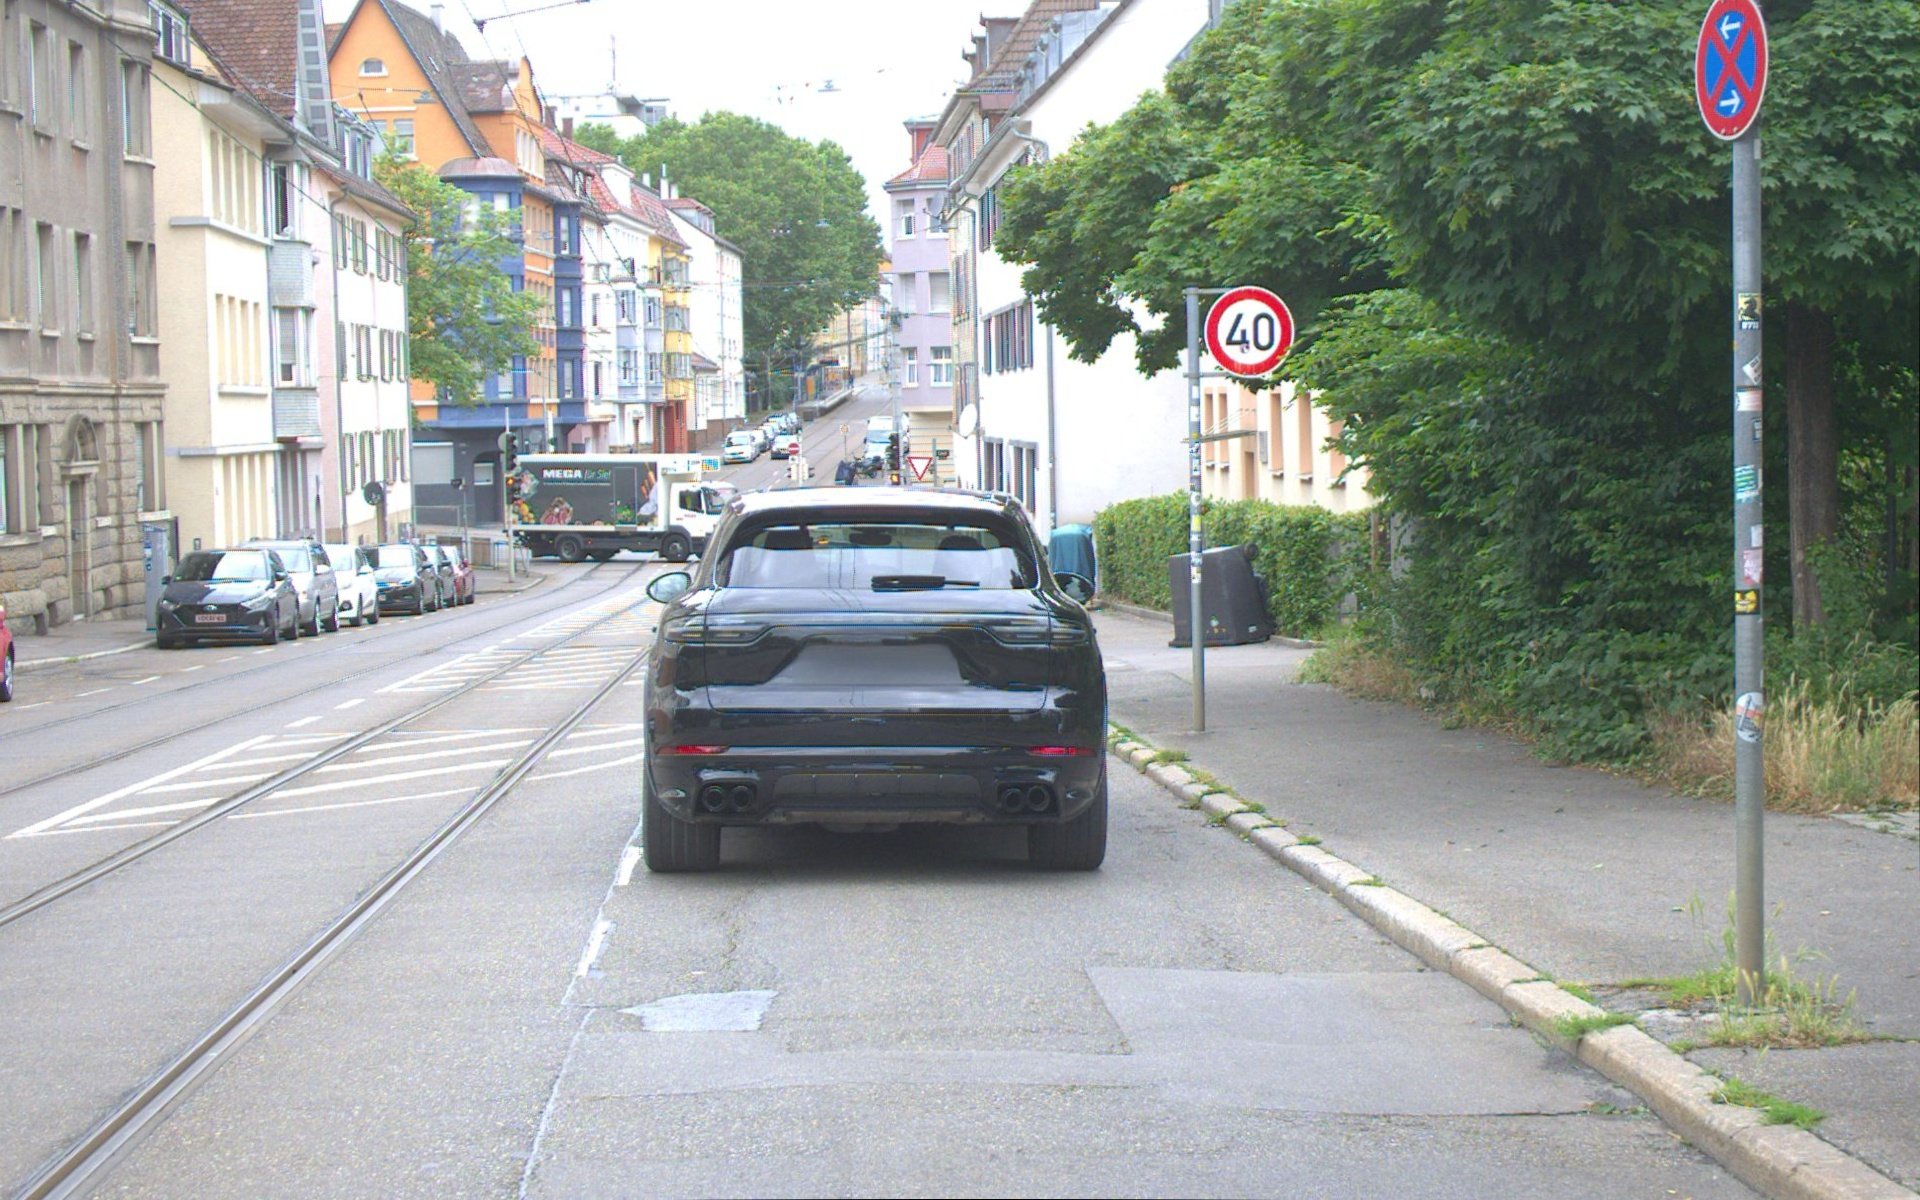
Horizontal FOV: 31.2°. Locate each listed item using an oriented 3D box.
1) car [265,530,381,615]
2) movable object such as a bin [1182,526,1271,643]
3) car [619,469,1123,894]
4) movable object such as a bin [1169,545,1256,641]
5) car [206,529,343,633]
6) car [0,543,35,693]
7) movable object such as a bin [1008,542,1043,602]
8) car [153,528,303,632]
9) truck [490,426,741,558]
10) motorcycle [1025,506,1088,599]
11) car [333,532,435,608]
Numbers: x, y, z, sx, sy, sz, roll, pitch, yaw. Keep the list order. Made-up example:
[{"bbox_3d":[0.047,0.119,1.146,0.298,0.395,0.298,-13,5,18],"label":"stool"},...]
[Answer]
[{"bbox_3d":[-11.557,-0.504,62.550,1.620,1.458,3.685,-2,0,-4],"label":"car"},{"bbox_3d":[2.808,-0.169,36.272,0.792,1.214,0.789,-1,1,-6],"label":"movable object such as a bin"},{"bbox_3d":[-0.458,0.288,15.779,1.993,1.670,4.001,-1,1,-3],"label":"car"},{"bbox_3d":[2.723,-0.079,37.072,0.792,1.008,0.789,-1,1,-6],"label":"movable object such as a bin"},{"bbox_3d":[-11.244,-0.317,56.631,1.620,1.599,4.352,-2,1,-4],"label":"car"},{"bbox_3d":[-10.146,0.201,33.172,1.620,1.458,3.746,-2,0,-4],"label":"car"},{"bbox_3d":[1.171,-0.507,61.765,0.588,1.076,0.692,-1,1,-1],"label":"movable object such as a bin"},{"bbox_3d":[-10.991,-0.302,51.807,1.620,1.458,4.033,-2,1,-4],"label":"car"},{"bbox_3d":[-11.716,-3.607,116.564,8.577,4.167,2.257,-1,-1,27],"label":"truck"},{"bbox_3d":[1.537,-0.772,55.214,0.838,1.451,2.553,-1,1,-2],"label":"motorcycle"},{"bbox_3d":[-11.906,-0.616,71.259,1.620,1.468,4.557,-2,1,-4],"label":"car"}]
